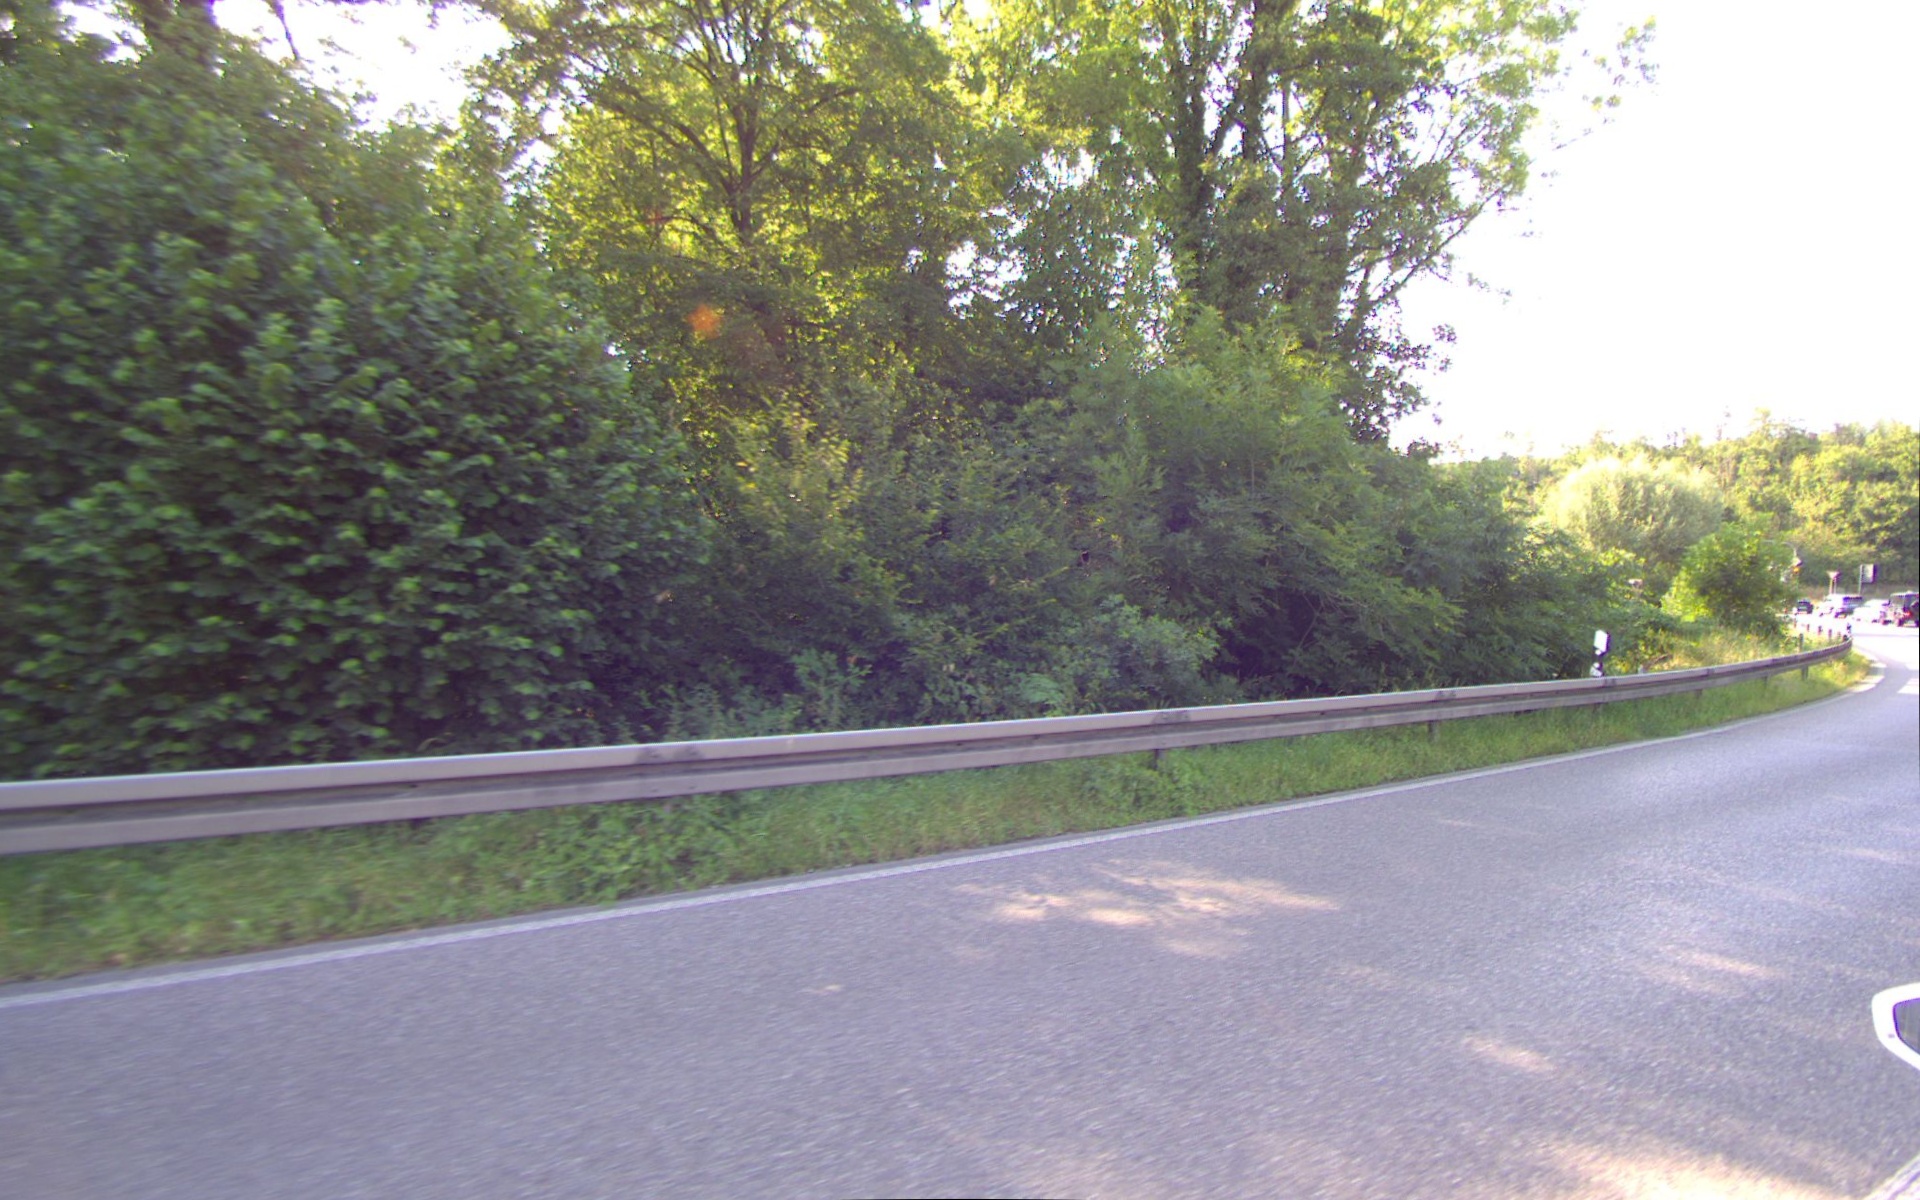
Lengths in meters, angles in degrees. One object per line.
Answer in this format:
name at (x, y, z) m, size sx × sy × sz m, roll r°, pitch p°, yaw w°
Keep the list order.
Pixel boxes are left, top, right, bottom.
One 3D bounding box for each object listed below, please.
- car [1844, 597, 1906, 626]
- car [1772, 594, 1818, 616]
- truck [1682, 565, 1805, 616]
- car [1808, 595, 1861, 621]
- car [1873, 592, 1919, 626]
car at (59.731, 0.732, 65.660) m, size 1.839 × 1.706 × 3.995 m, roll 3°, pitch 2°, yaw 26°
car at (66.332, 0.345, 79.854) m, size 1.838 × 1.586 × 3.996 m, roll 3°, pitch 2°, yaw 25°
truck at (79.095, -0.973, 101.528) m, size 10.044 × 4.647 × 3.020 m, roll 2°, pitch 2°, yaw -3°
car at (62.576, 0.538, 71.932) m, size 1.839 × 1.616 × 3.995 m, roll 4°, pitch 3°, yaw 26°
car at (55.804, 0.500, 59.198) m, size 1.926 × 1.876 × 3.995 m, roll 0°, pitch 1°, yaw 26°
